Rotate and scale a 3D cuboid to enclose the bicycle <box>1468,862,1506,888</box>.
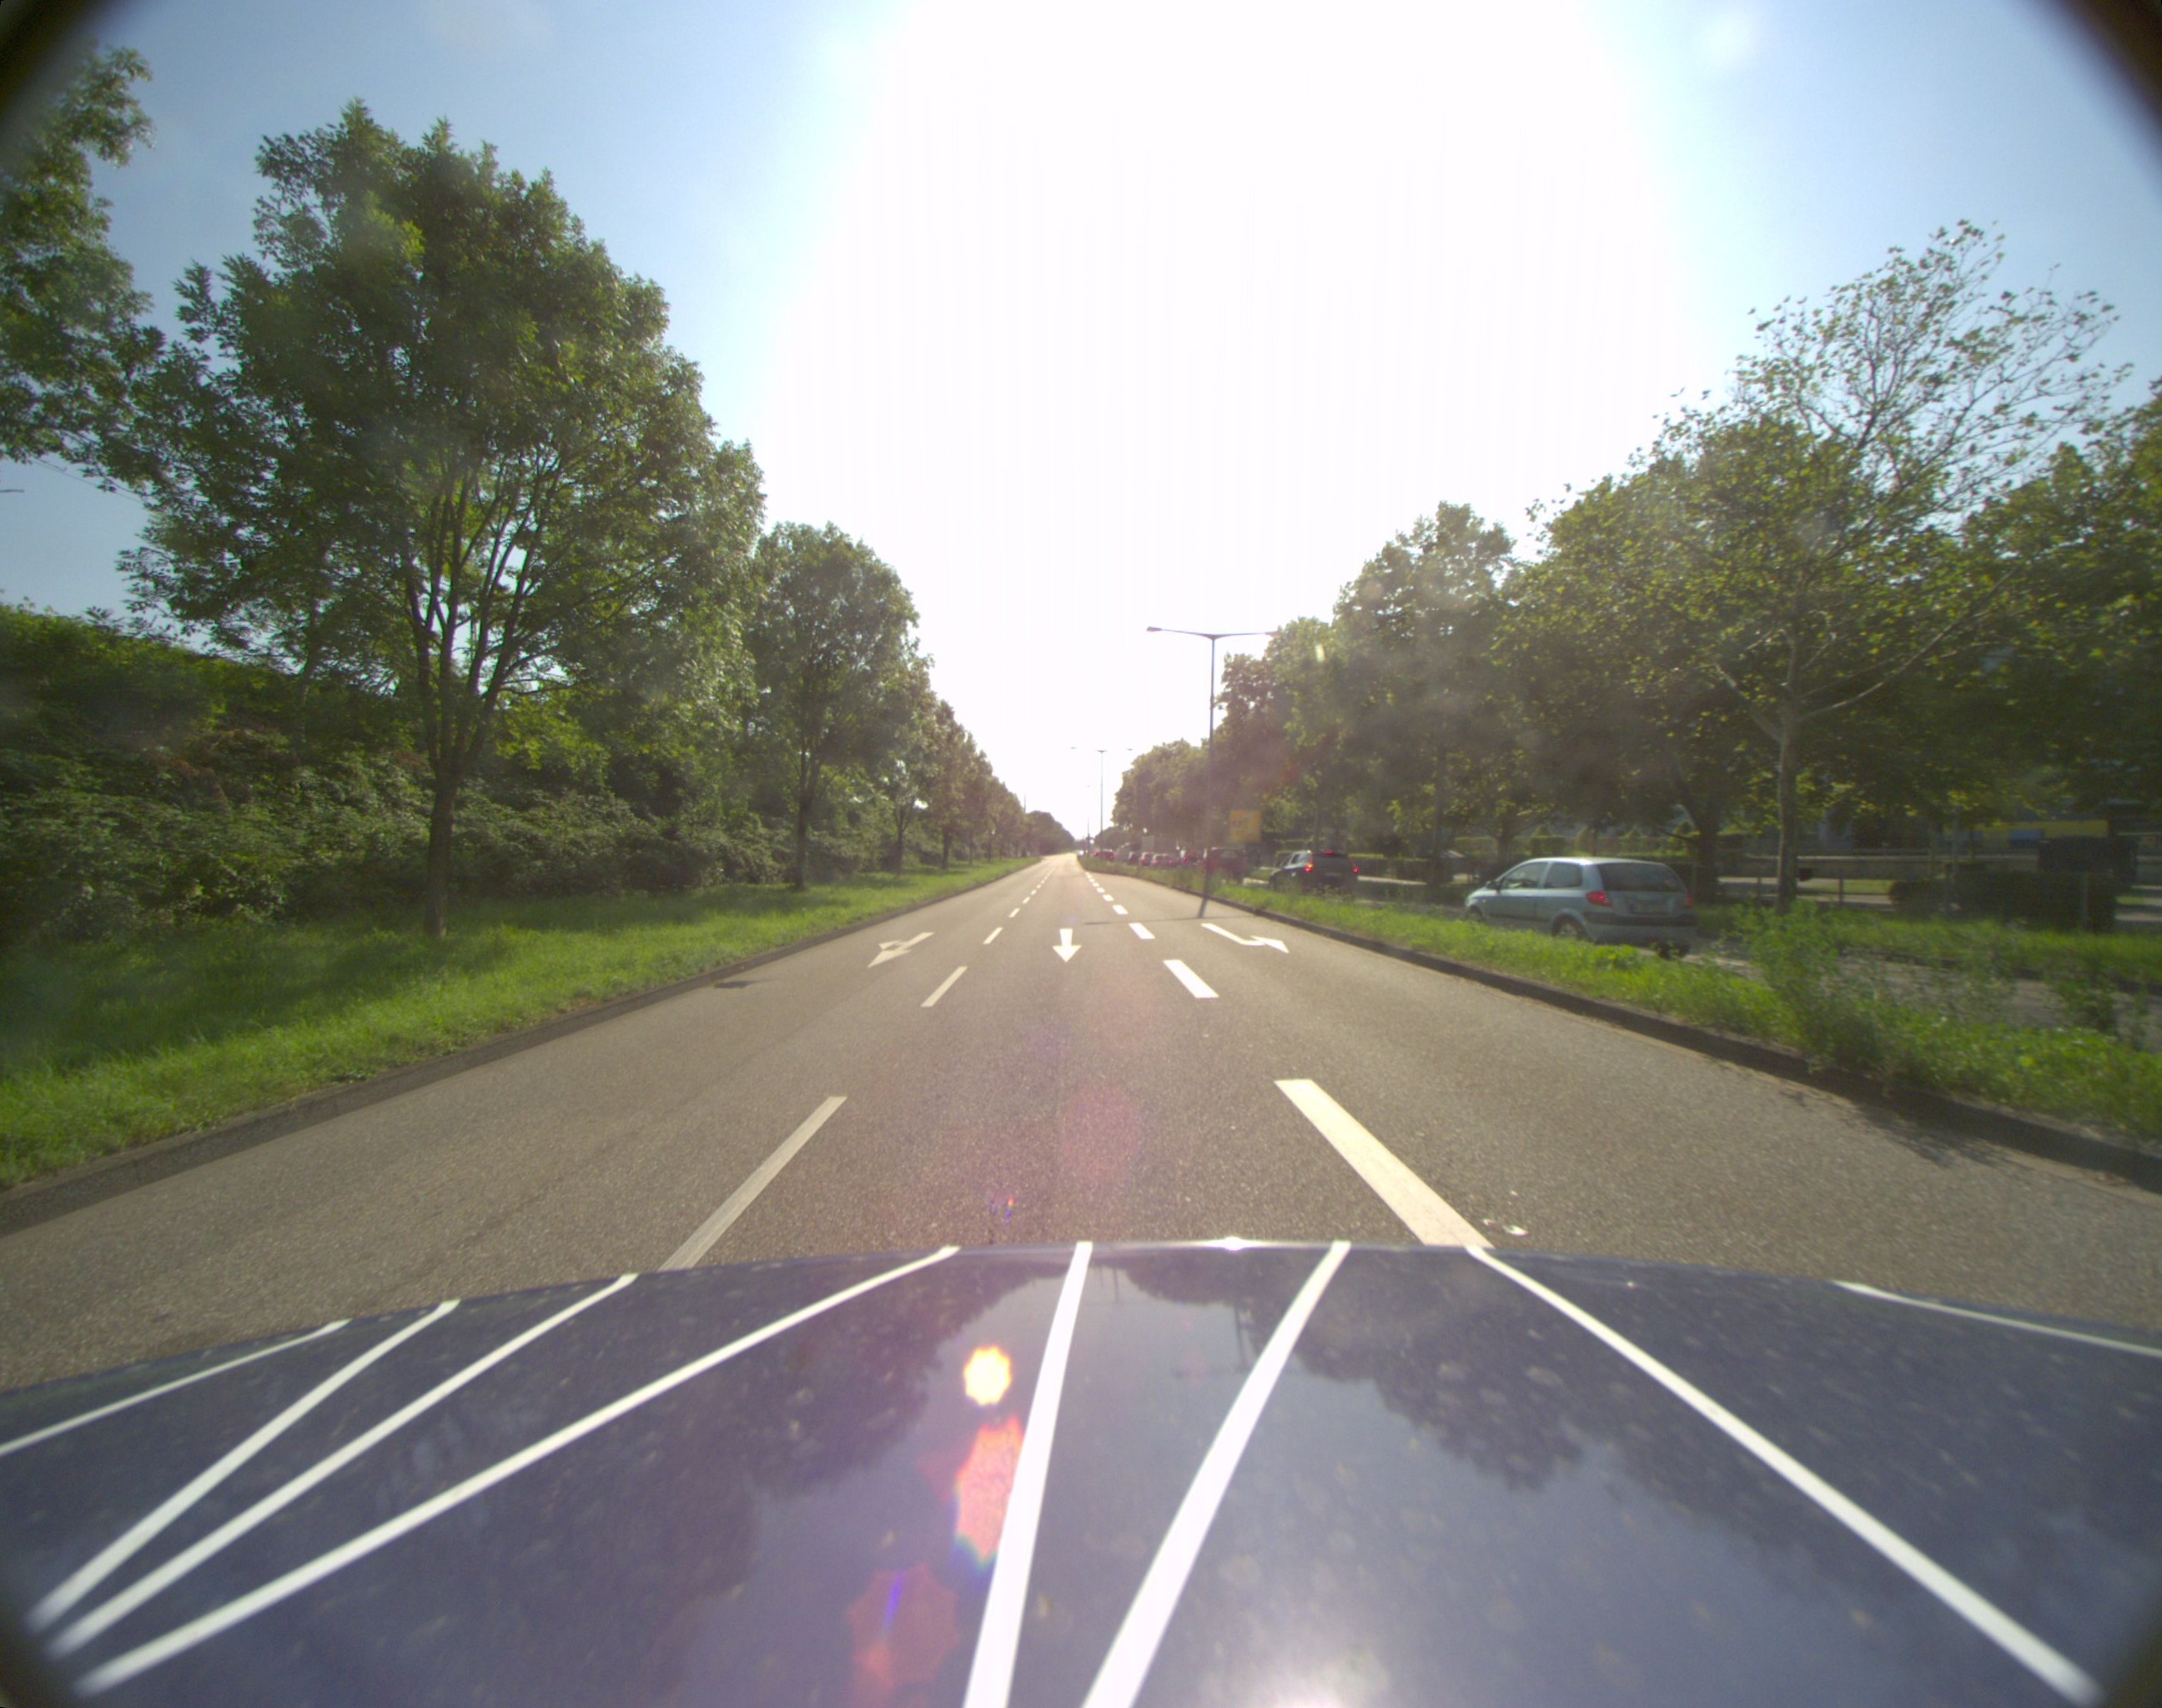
[{"bbox_3d":[18.056,0.905,33.817,0.650,1.101,1.800,0,0,-2],"label":"bicycle"}]

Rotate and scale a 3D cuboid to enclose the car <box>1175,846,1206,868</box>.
[{"bbox_3d":[9.704,0.253,67.789,1.989,1.848,4.968,1,1,-1],"label":"car"}]

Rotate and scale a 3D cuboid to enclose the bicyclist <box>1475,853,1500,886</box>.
[{"bbox_3d":[18.069,0.691,33.789,0.650,1.431,0.839,0,1,-2],"label":"bicyclist"}]

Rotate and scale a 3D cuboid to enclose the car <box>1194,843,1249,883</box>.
[{"bbox_3d":[7.481,0.459,40.926,1.937,2.016,4.565,0,0,-2],"label":"car"}]

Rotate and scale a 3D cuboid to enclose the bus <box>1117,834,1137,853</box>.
[{"bbox_3d":[7.943,-1.805,132.197,2.597,3.062,12.309,-1,1,0],"label":"bus"}]

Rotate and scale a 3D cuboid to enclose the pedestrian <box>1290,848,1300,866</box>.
[{"bbox_3d":[19.913,0.254,70.594,0.618,1.643,0.933,-1,1,-1],"label":"pedestrian"}]

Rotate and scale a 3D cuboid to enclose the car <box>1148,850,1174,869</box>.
[{"bbox_3d":[6.699,0.456,63.759,1.681,1.477,3.491,-1,1,-2],"label":"car"}]

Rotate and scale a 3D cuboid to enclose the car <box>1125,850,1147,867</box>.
[{"bbox_3d":[6.183,0.499,85.850,1.999,1.749,4.306,2,1,-2],"label":"car"}]

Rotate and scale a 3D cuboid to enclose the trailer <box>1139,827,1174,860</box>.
[{"bbox_3d":[9.183,-1.256,94.110,2.640,3.799,13.808,1,1,-1],"label":"trailer"}]

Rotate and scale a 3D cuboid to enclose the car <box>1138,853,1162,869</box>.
[{"bbox_3d":[6.756,0.674,74.973,1.884,1.584,4.107,0,0,-1],"label":"car"}]

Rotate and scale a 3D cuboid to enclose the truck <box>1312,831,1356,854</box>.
[{"bbox_3d":[31.384,-1.447,94.072,5.916,2.844,2.233,-1,1,-39],"label":"truck"}]

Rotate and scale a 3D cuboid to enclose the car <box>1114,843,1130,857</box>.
[{"bbox_3d":[5.844,-0.547,109.022,1.999,1.942,5.035,0,1,-1],"label":"car"}]

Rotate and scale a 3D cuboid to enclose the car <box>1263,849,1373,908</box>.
[{"bbox_3d":[7.540,0.704,24.676,1.999,1.696,4.503,-1,1,-3],"label":"car"}]

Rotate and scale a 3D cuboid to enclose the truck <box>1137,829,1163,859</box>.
[{"bbox_3d":[9.098,-1.306,100.719,2.614,3.797,5.890,1,1,-1],"label":"truck"}]

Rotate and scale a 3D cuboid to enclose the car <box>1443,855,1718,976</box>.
[{"bbox_3d":[7.691,0.830,12.242,1.778,1.565,3.999,-1,1,-1],"label":"car"}]

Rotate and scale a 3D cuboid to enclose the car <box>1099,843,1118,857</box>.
[{"bbox_3d":[3.588,-0.502,100.946,1.999,1.749,4.475,2,1,-4],"label":"car"}]

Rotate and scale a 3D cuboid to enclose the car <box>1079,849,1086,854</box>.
[{"bbox_3d":[0.415,-0.745,209.887,1.544,1.433,3.396,0,-1,3],"label":"car"}]

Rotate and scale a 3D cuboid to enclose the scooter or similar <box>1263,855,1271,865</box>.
[{"bbox_3d":[20.761,0.680,84.704,0.510,1.121,1.381,-1,1,0],"label":"scooter or similar"}]
